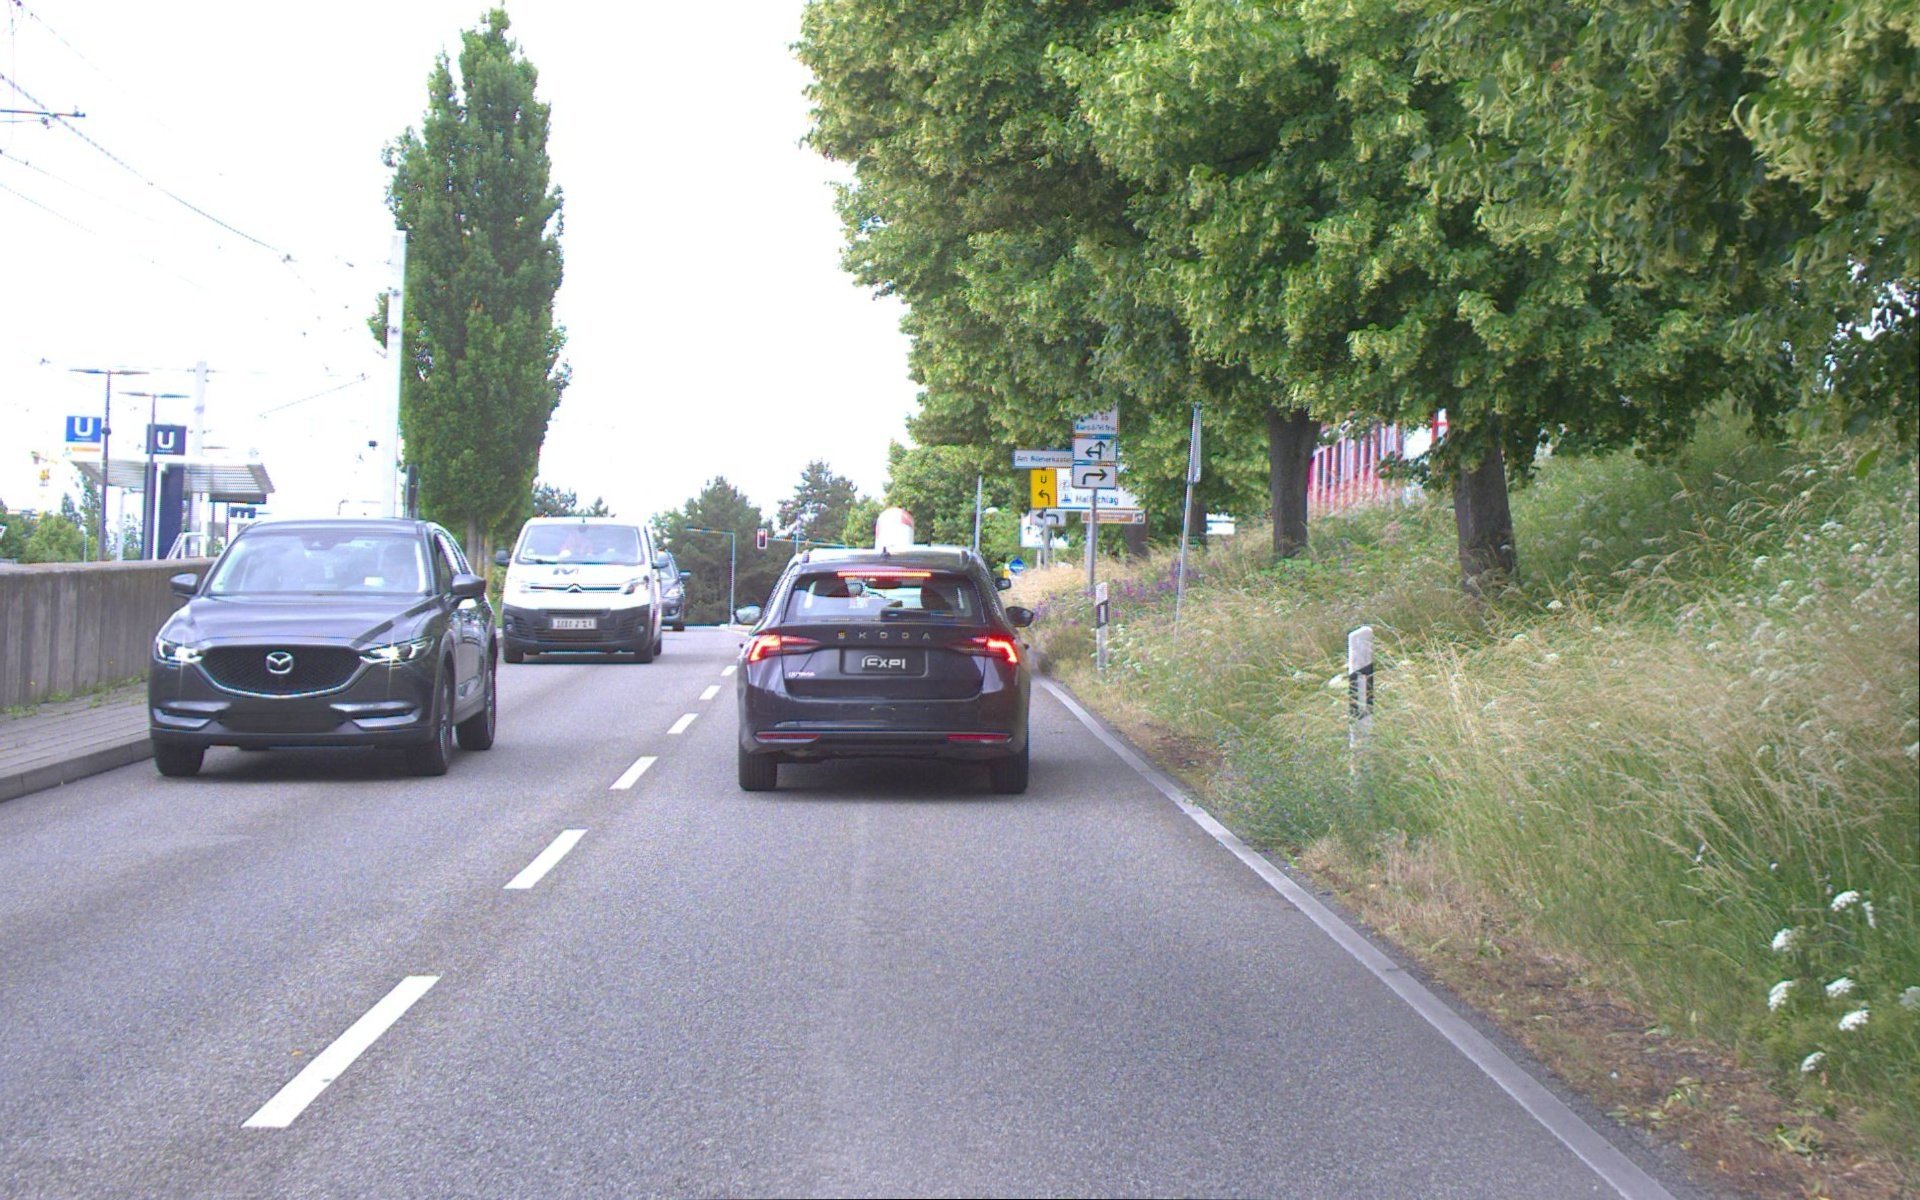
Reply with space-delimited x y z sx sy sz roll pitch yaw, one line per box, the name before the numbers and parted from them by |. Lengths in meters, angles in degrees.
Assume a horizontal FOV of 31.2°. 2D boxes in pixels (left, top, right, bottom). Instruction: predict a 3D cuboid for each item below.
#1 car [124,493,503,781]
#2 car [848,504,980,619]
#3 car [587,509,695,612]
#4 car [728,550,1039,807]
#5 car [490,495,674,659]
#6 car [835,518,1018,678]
car | -4.247 0.189 23.229 1.910 1.762 4.307 0 1 -2
car | -0.718 -0.602 54.242 1.993 1.734 4.000 1 0 0
car | -6.394 -0.818 69.259 1.993 2.007 4.001 0 1 -3
car | -0.453 0.421 21.699 1.781 1.463 4.000 0 1 0
car | -4.827 -0.320 44.415 1.993 2.007 4.313 0 1 -1
car | -0.394 -0.061 39.632 1.993 1.747 4.000 0 1 -1
